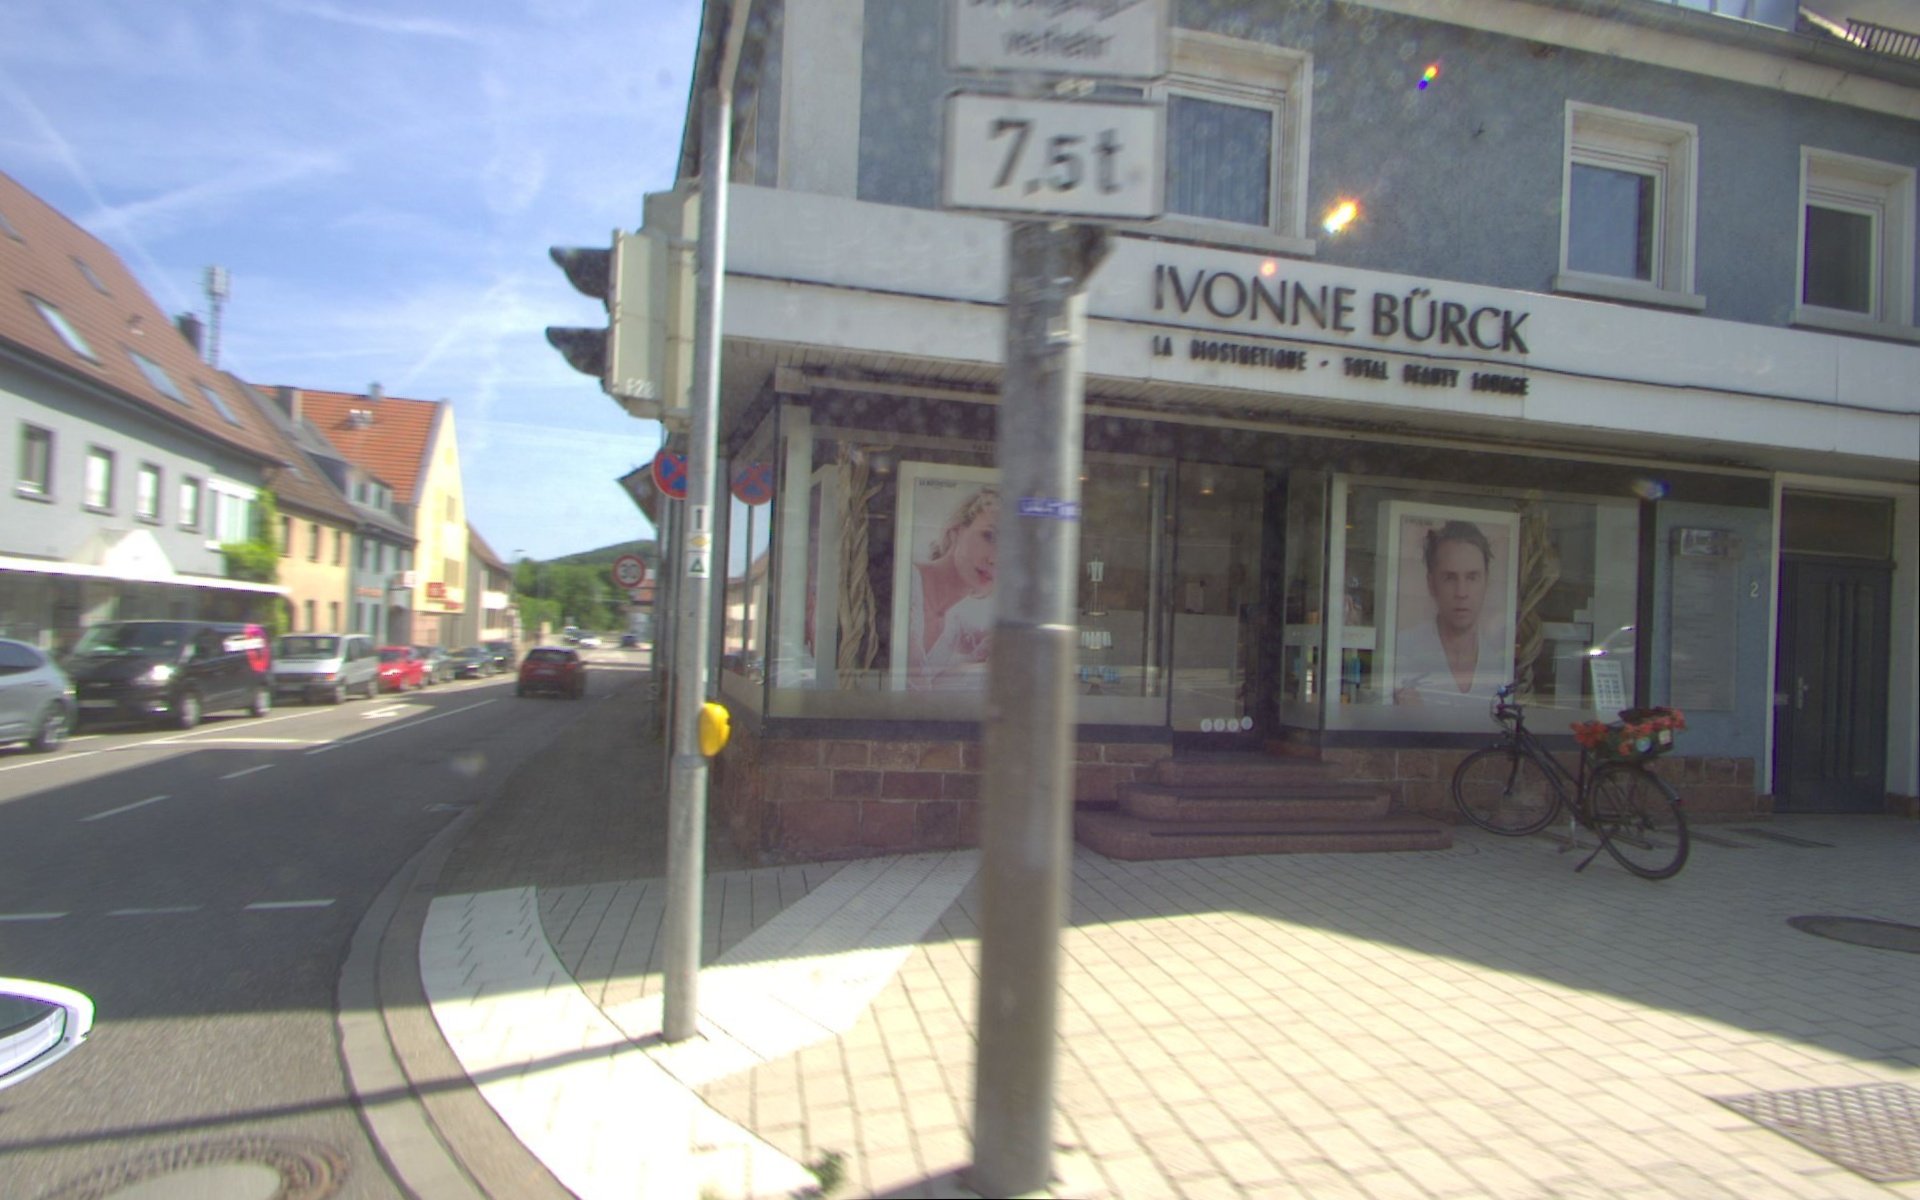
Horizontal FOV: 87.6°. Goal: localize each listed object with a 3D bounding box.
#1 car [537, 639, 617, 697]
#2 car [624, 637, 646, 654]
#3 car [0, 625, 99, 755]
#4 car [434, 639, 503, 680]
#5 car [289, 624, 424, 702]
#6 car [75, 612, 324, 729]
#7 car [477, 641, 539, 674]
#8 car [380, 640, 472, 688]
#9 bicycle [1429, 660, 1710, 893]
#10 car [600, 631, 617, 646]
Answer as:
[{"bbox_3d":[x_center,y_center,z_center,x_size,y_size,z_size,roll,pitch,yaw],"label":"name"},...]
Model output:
[{"bbox_3d":[-12.786,2.228,33.693,1.831,1.736,4.419,3,-3,-13],"label":"car"},{"bbox_3d":[-36.474,5.108,112.528,1.903,1.815,3.957,2,-4,-12],"label":"car"},{"bbox_3d":[-12.873,1.123,12.349,1.730,1.630,4.423,0,-2,-16],"label":"car"},{"bbox_3d":[-19.843,2.379,40.560,1.604,1.539,4.017,1,-3,-13],"label":"car"},{"bbox_3d":[-16.128,1.653,27.048,1.855,1.914,4.548,1,-2,-15],"label":"car"},{"bbox_3d":[-14.427,1.289,19.447,2.128,1.947,5.159,0,-2,-16],"label":"car"},{"bbox_3d":[-20.954,2.649,46.578,1.762,1.469,4.421,1,-3,-13],"label":"car"},{"bbox_3d":[-17.752,2.104,33.477,1.732,1.511,4.073,1,-3,-14],"label":"car"},{"bbox_3d":[3.870,1.051,6.552,0.539,1.250,1.809,1,-1,-8],"label":"bicycle"},{"bbox_3d":[-46.063,5.017,131.200,1.748,1.805,3.838,2,-4,-14],"label":"car"}]
